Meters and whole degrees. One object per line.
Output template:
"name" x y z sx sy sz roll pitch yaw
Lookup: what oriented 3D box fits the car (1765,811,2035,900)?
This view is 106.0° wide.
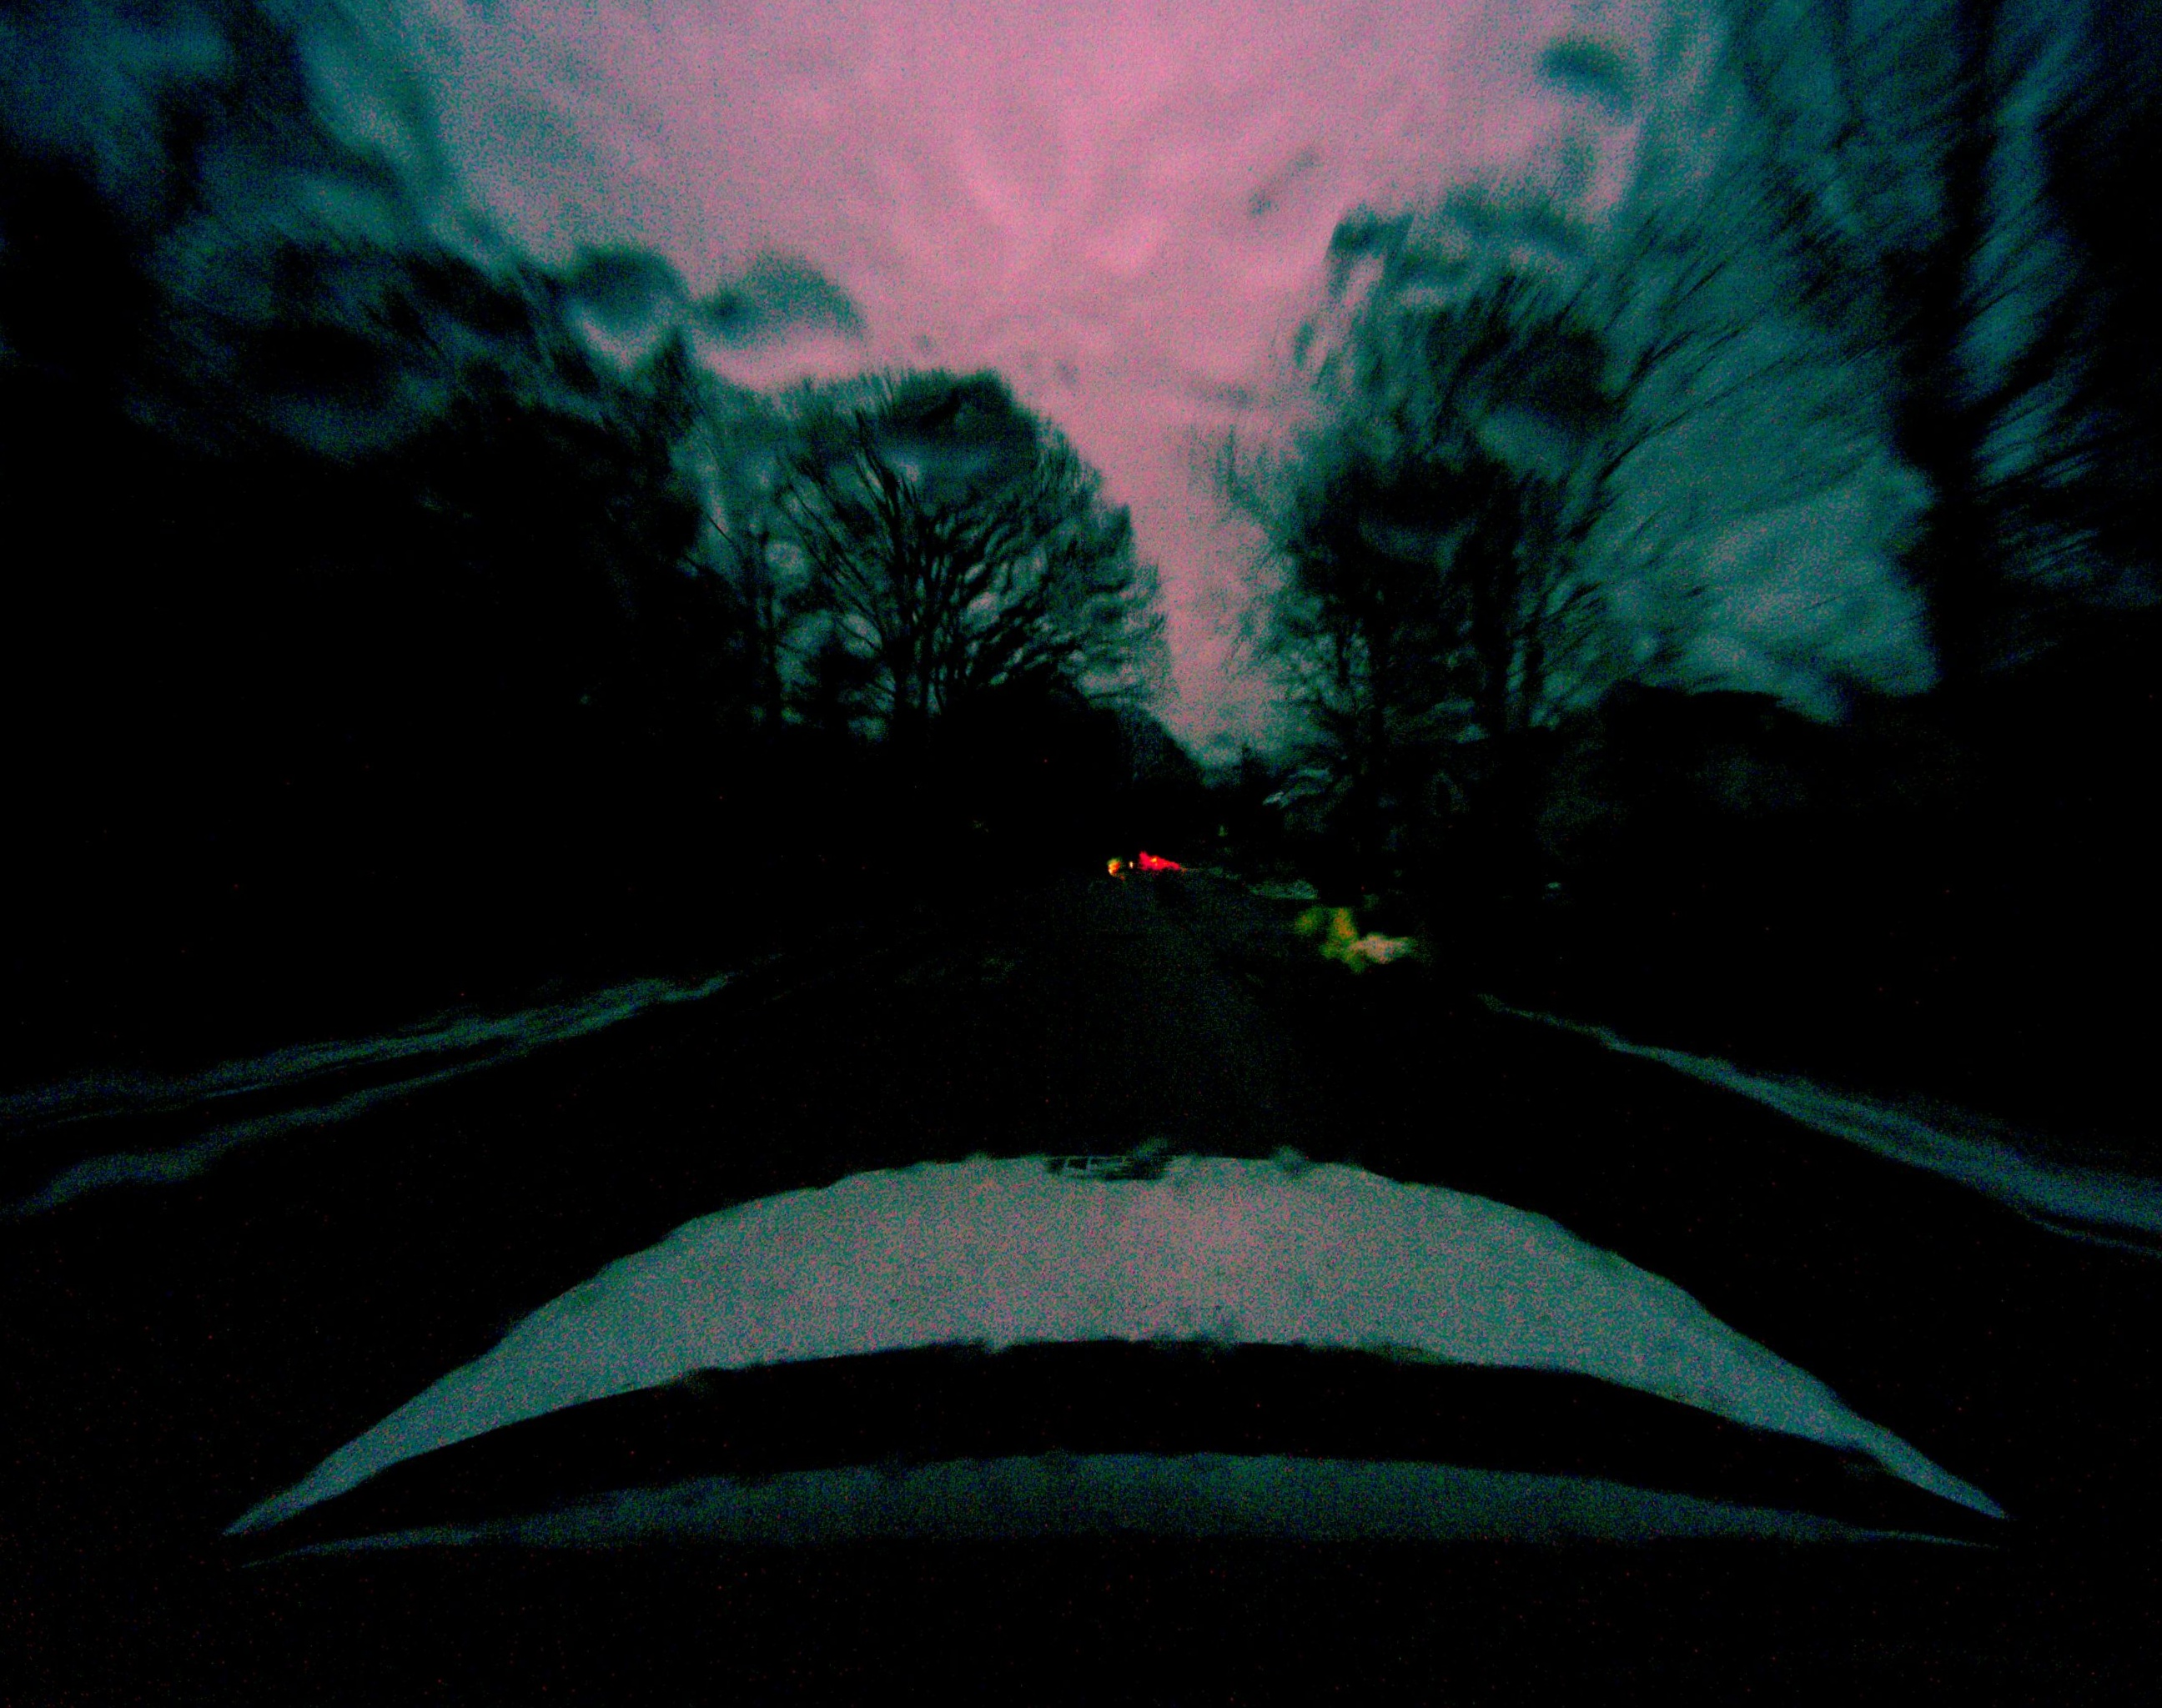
"car" 16.211 0.136 16.437 1.632 1.473 3.739 -2 -4 2

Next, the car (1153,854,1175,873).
"car" 8.167 0.896 79.737 1.922 1.781 4.009 -2 0 8

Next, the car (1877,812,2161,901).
"car" 18.693 0.146 16.404 1.632 1.473 3.739 -2 -4 2

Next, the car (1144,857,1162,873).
"car" 8.169 1.215 92.444 1.923 1.676 4.007 -2 0 6

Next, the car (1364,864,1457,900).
"car" 15.936 1.343 39.510 3.771 1.597 1.803 -2 0 -1

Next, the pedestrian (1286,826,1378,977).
"pedestrian" 2.924 0.530 9.584 0.741 1.655 0.970 -2 0 0
